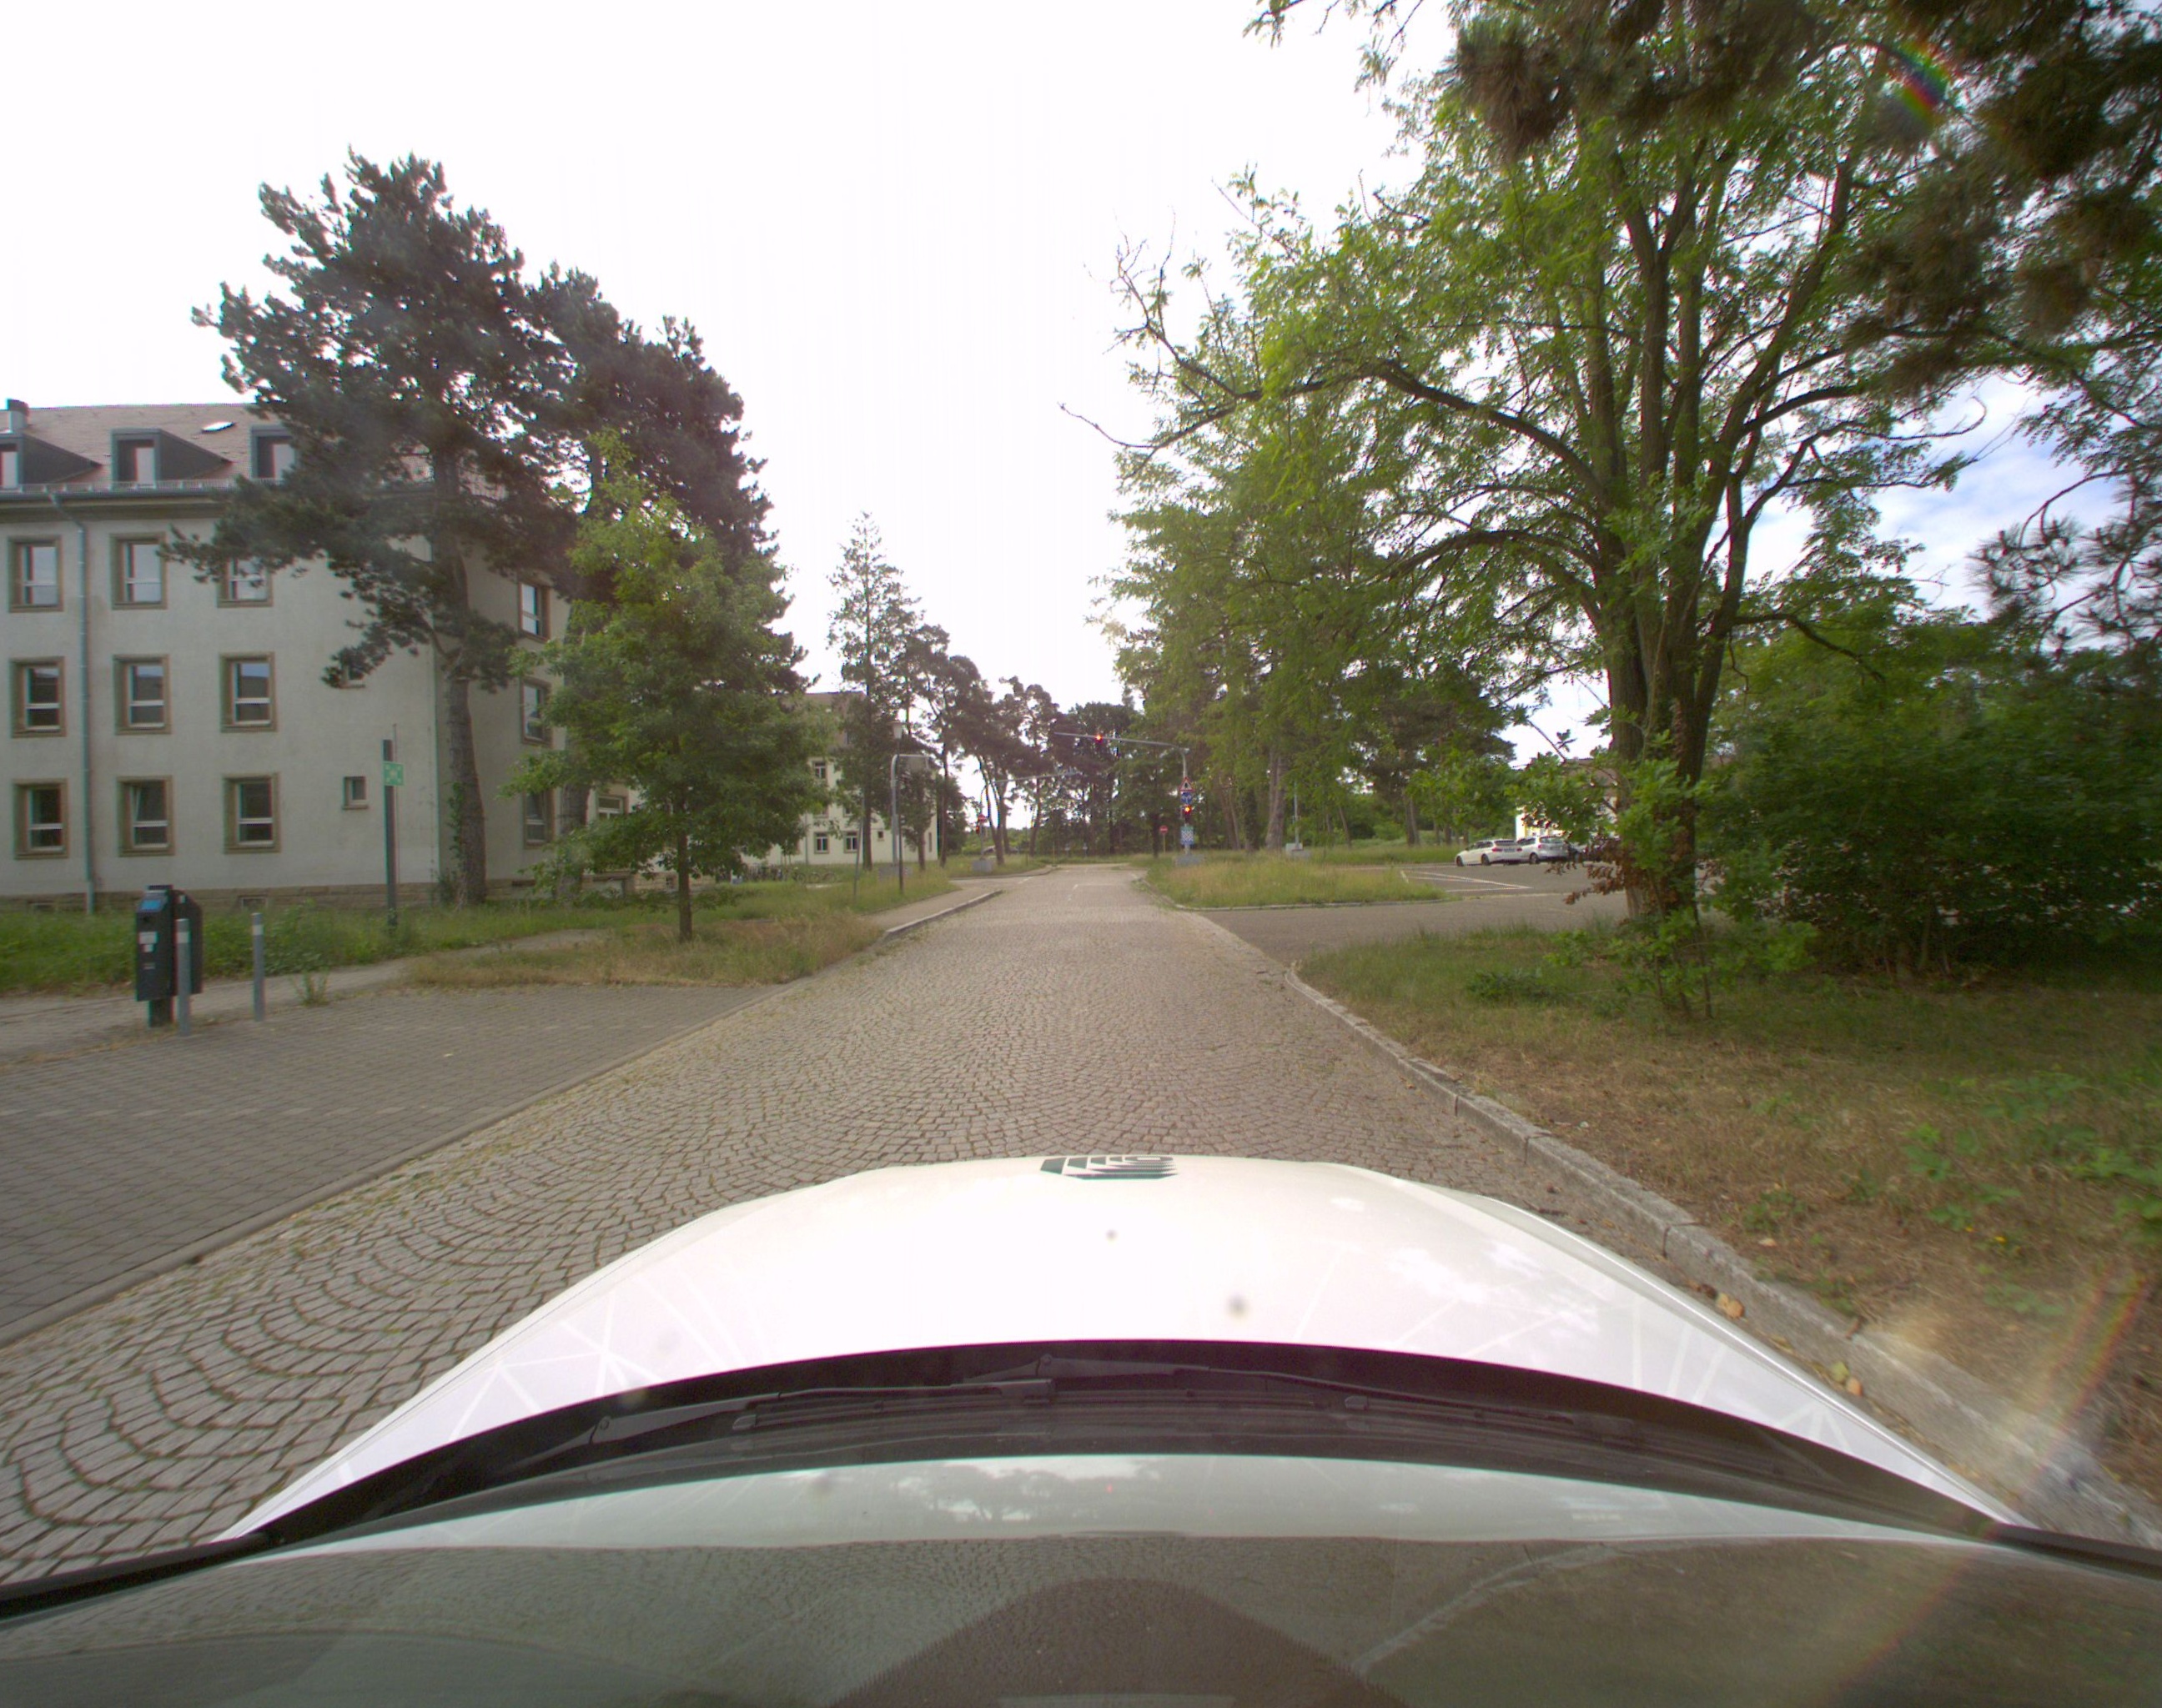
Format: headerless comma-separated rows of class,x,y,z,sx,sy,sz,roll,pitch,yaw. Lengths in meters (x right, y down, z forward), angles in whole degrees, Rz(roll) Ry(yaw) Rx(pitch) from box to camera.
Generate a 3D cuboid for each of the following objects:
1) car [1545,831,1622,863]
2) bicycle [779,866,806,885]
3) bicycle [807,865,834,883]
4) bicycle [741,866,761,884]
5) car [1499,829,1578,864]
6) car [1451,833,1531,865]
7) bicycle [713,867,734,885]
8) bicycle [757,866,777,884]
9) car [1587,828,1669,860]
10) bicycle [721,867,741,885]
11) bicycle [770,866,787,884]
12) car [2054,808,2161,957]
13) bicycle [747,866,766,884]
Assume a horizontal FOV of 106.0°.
car,27.315,-0.355,44.430,1.694,1.485,4.245,-2,-2,2
bicycle,-17.772,1.303,50.215,1.460,1.079,0.516,-2,0,-2
bicycle,-16.136,1.221,50.382,1.460,1.065,0.516,-2,0,-2
bicycle,-20.911,1.349,51.607,0.512,1.079,1.586,-2,0,1
car,24.685,-0.360,44.137,1.777,1.605,4.239,-2,-2,-2
car,22.049,-0.220,44.029,1.843,1.487,4.605,-1,-2,-2
bicycle,-22.616,1.393,51.531,0.512,1.079,1.586,-2,0,1
bicycle,-19.848,1.345,51.509,0.512,1.079,1.587,-2,0,4
car,30.055,-0.500,44.912,1.694,1.485,4.245,-2,-2,2
bicycle,-22.164,1.388,51.538,0.512,1.079,1.586,-2,0,1
bicycle,-19.169,1.342,51.598,0.513,1.079,1.584,-2,0,-2
car,11.400,0.255,6.573,1.669,1.450,4.486,-1,0,-1
bicycle,-20.550,1.348,51.602,0.512,1.079,1.586,-2,0,1
